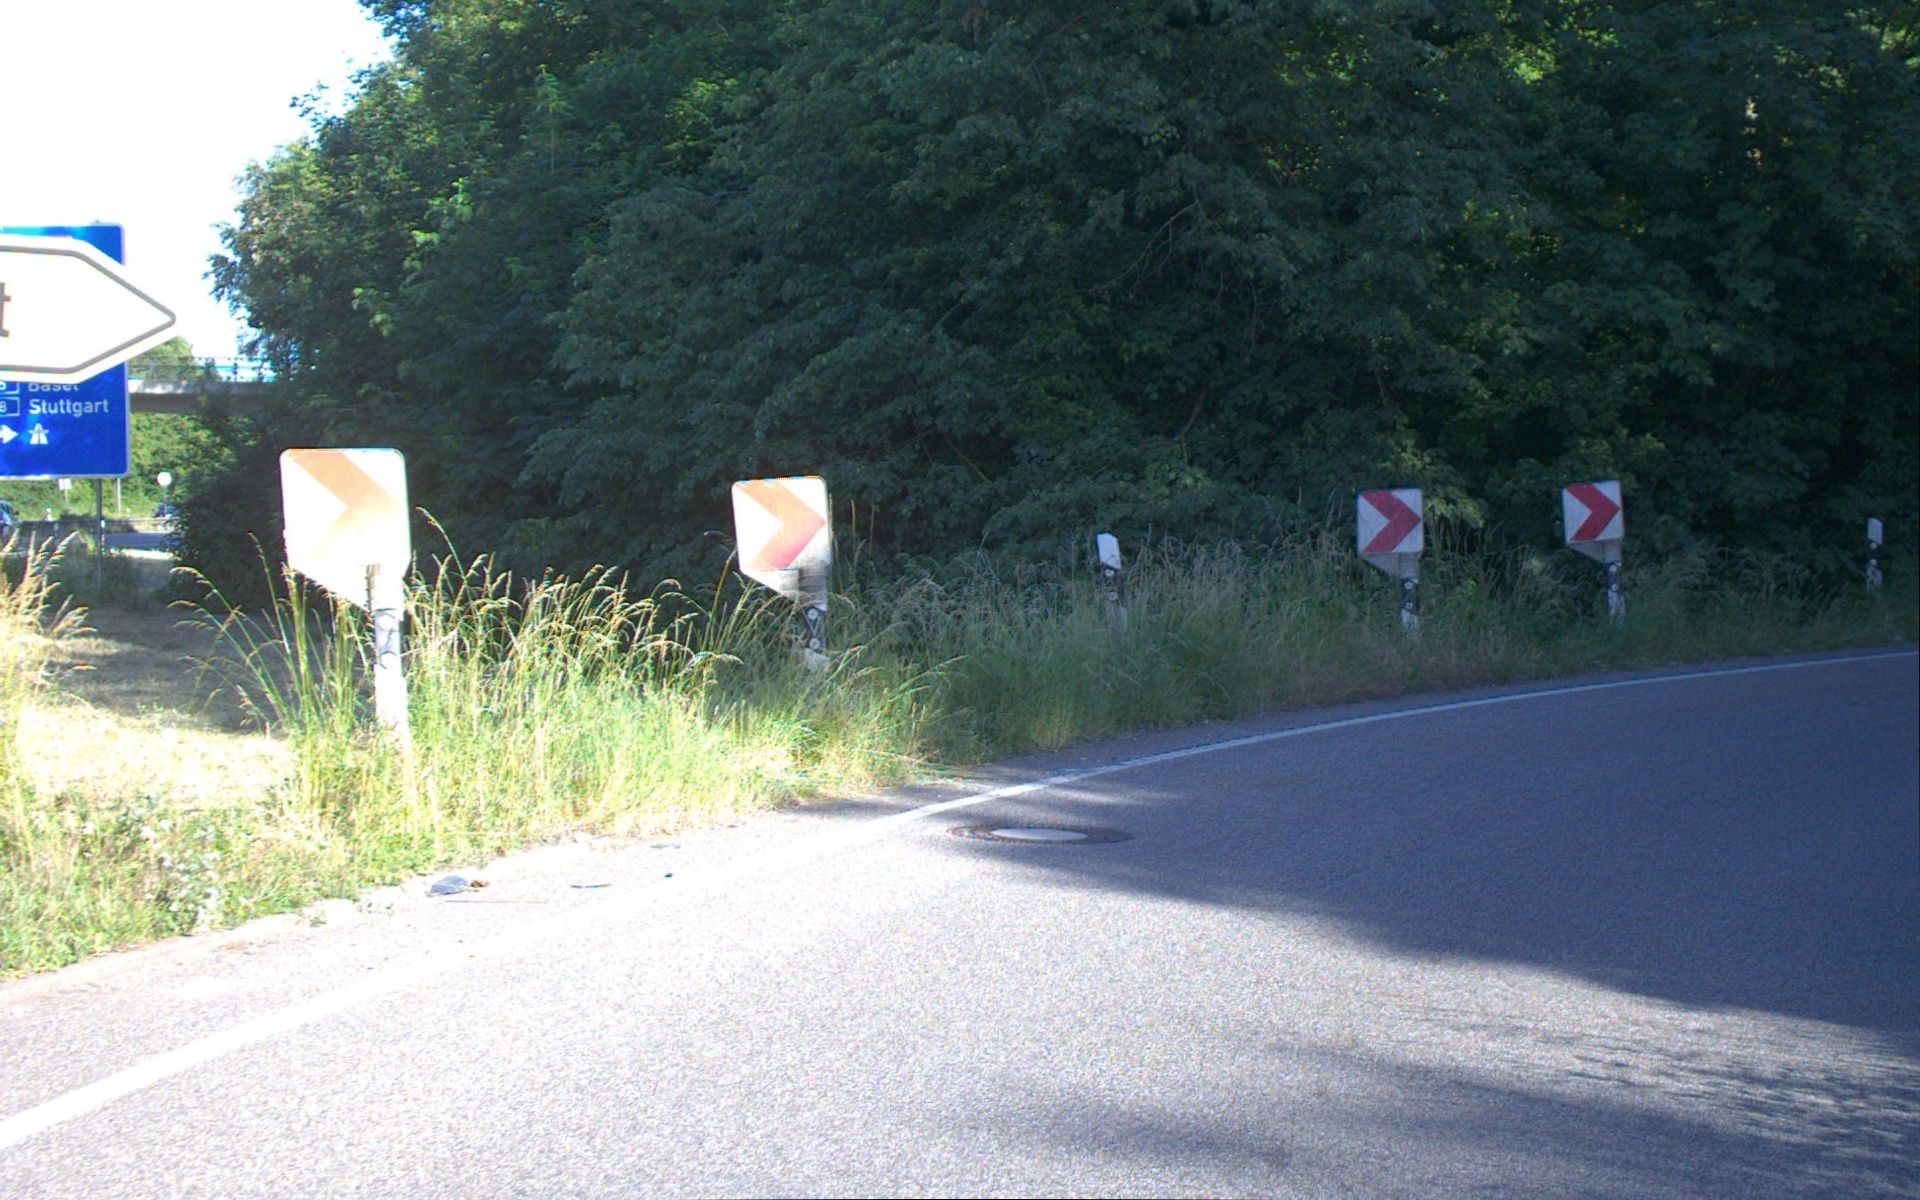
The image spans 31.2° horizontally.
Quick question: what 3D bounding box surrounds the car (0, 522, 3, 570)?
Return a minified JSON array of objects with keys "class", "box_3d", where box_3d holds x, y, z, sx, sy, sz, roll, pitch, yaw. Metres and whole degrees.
[{"class":"car","box_3d":[-33.899,-1.832,117.271,1.739,1.656,3.946,0,1,-6]}]
